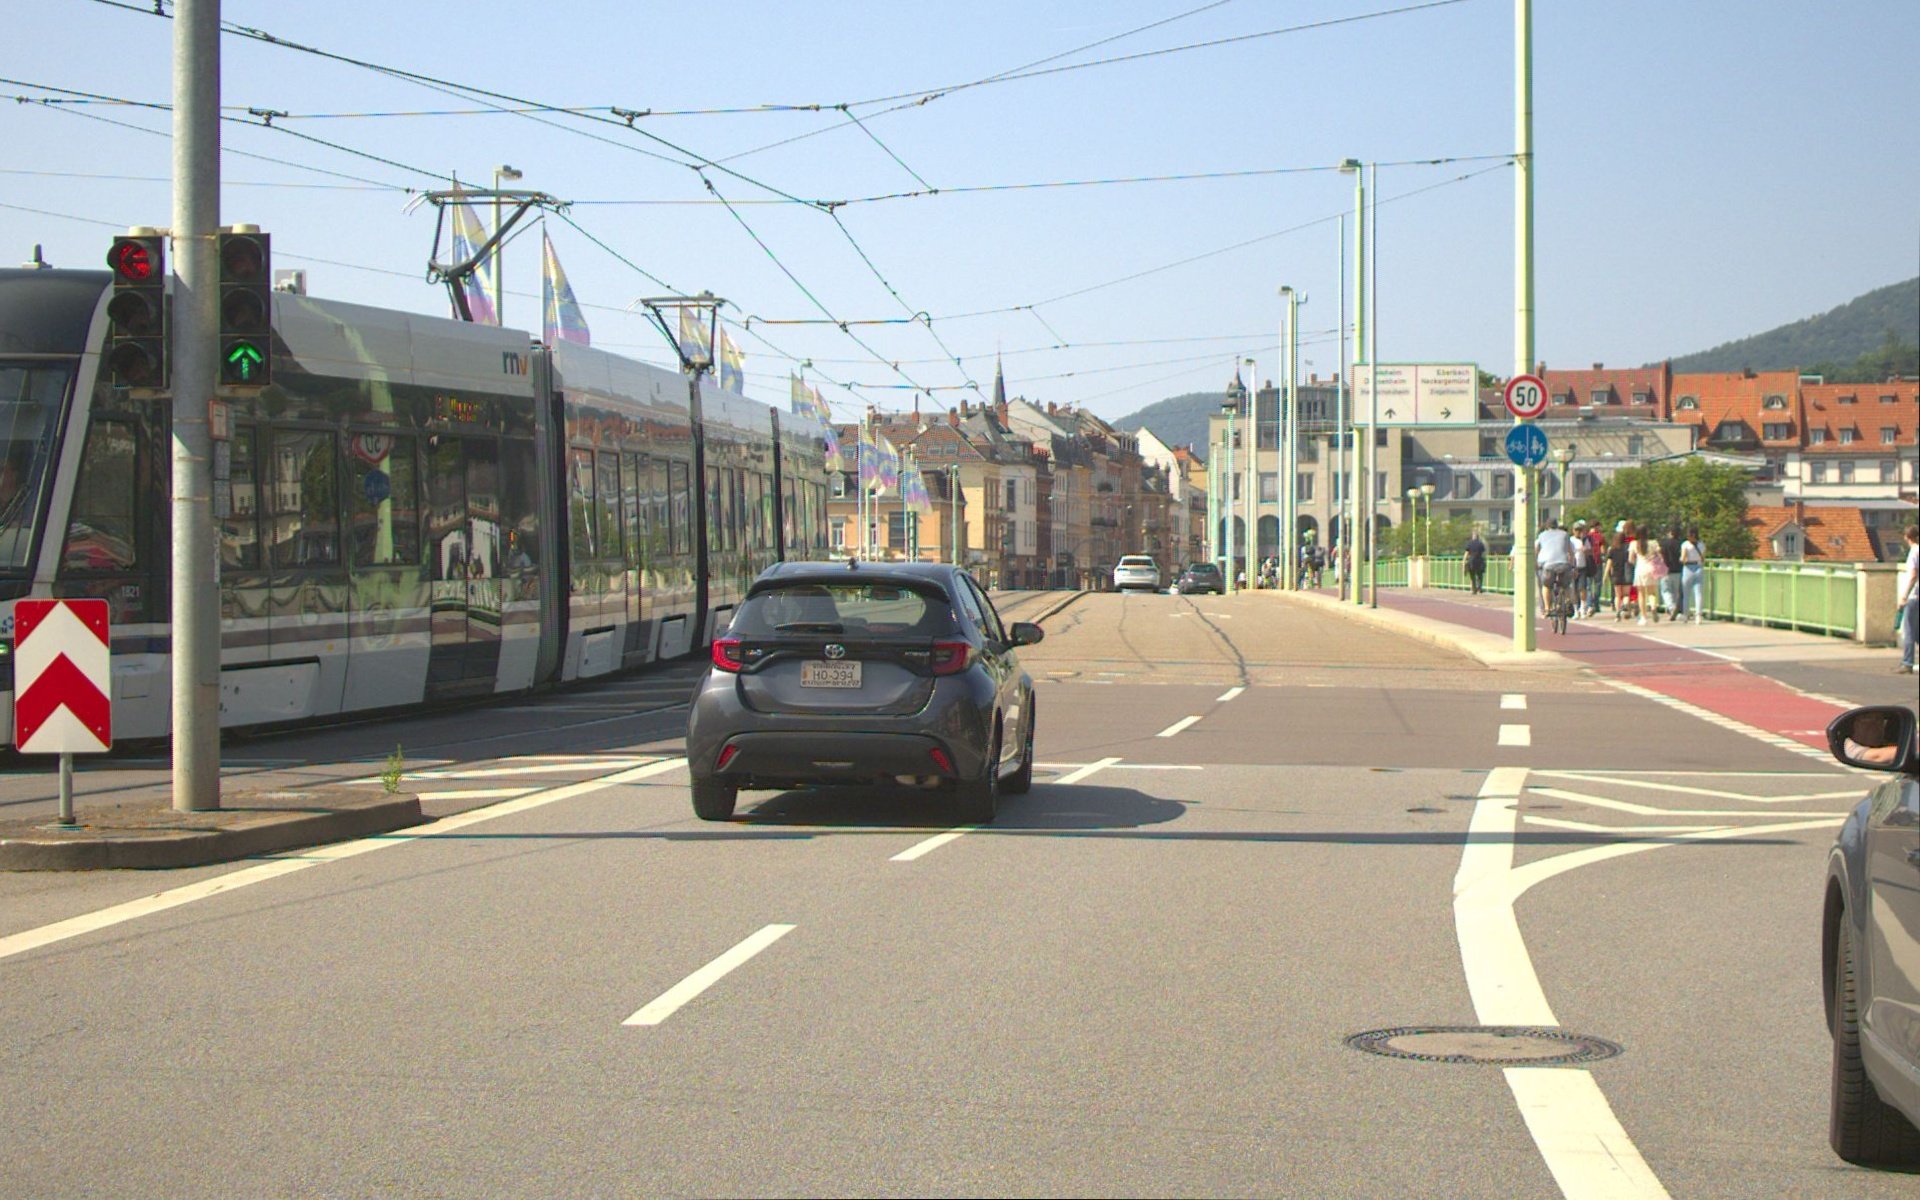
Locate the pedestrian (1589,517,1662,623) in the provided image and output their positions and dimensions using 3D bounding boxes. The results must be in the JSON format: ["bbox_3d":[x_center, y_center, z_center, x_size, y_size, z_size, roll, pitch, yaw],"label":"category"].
[{"bbox_3d":[11.102,-0.491,57.363,0.984,1.744,0.930,0,0,-3],"label":"pedestrian"}]

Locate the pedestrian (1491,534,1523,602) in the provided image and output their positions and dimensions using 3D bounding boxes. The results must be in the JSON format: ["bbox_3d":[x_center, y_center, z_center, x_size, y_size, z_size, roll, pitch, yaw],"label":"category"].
[{"bbox_3d":[12.628,-0.743,79.406,0.649,1.557,0.692,-1,1,3],"label":"pedestrian"}]

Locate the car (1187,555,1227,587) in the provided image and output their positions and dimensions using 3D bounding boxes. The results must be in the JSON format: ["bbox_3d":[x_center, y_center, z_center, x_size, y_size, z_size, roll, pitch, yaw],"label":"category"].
[{"bbox_3d":[11.727,-1.379,163.127,1.804,1.464,3.999,-1,0,5],"label":"car"}]

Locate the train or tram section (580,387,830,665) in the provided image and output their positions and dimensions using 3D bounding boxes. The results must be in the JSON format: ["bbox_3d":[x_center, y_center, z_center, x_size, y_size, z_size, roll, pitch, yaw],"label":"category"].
[{"bbox_3d":[-3.694,-1.131,52.676,2.470,3.764,11.850,0,1,2],"label":"train or tram section"}]

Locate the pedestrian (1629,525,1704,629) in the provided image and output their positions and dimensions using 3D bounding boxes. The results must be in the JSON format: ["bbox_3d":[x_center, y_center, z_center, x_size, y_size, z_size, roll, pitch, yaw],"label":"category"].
[{"bbox_3d":[12.178,-0.402,59.290,0.984,1.763,1.254,-1,1,-3],"label":"pedestrian"}]

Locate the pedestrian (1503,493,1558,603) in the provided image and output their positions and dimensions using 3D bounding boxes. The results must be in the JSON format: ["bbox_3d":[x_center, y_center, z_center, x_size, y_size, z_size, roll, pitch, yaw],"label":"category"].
[{"bbox_3d":[10.536,-0.949,63.543,0.803,2.007,0.954,0,0,-3],"label":"pedestrian"}]

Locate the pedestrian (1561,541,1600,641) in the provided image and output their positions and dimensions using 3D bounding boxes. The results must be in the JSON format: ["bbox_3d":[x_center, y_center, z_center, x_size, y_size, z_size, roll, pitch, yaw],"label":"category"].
[{"bbox_3d":[11.183,-0.163,61.933,0.549,1.793,0.646,0,0,-3],"label":"pedestrian"}]

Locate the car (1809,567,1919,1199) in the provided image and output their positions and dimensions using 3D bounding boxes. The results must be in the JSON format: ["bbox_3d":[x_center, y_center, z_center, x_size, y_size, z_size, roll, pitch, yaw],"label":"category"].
[{"bbox_3d":[2.971,0.705,7.109,1.930,1.510,3.992,1,1,8],"label":"car"}]

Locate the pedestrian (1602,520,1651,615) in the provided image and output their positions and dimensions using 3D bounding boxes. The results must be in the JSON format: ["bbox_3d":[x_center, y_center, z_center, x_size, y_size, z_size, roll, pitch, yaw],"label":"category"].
[{"bbox_3d":[12.036,-0.586,62.112,0.695,1.711,0.732,0,0,-3],"label":"pedestrian"}]

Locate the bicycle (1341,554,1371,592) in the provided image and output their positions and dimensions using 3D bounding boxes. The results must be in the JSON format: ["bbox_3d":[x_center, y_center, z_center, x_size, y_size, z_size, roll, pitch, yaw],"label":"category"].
[{"bbox_3d":[12.794,-0.863,111.034,0.695,1.189,2.079,0,0,-1],"label":"bicycle"}]

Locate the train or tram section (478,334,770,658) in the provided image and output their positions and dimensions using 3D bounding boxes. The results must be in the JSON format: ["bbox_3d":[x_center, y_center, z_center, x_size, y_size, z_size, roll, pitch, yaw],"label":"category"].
[{"bbox_3d":[-4.084,-1.284,43.843,2.404,3.668,9.619,0,1,2],"label":"train or tram section"}]

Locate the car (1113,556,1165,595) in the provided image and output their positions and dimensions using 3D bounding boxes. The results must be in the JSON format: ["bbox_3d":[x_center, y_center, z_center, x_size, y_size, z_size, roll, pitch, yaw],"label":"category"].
[{"bbox_3d":[7.083,-0.975,136.305,1.804,1.464,4.000,-1,0,0],"label":"car"}]

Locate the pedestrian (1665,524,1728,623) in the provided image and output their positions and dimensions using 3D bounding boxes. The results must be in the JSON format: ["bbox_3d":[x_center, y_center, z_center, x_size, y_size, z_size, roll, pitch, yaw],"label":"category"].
[{"bbox_3d":[12.242,-0.448,57.145,0.799,1.629,0.950,0,0,-3],"label":"pedestrian"}]

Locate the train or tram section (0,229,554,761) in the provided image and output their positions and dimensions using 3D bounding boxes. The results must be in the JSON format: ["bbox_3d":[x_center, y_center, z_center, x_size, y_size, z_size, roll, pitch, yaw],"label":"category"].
[{"bbox_3d":[-6.168,-0.826,29.084,2.538,3.764,9.164,0,1,13],"label":"train or tram section"}]

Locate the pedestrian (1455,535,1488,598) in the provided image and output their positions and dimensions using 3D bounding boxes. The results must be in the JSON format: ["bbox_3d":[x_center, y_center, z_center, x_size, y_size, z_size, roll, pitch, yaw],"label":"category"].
[{"bbox_3d":[14.151,-0.933,95.122,0.654,1.738,0.978,0,2,-4],"label":"pedestrian"}]

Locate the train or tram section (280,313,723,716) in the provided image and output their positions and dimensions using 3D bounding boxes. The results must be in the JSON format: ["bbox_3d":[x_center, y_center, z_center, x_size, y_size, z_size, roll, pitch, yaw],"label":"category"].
[{"bbox_3d":[-4.624,-0.896,36.795,2.538,3.764,9.167,0,1,6],"label":"train or tram section"}]

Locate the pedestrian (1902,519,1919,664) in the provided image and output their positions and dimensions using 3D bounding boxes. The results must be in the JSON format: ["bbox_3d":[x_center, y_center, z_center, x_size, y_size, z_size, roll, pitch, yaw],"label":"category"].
[{"bbox_3d":[11.834,-0.104,41.962,0.534,1.754,0.577,1,1,6],"label":"pedestrian"}]

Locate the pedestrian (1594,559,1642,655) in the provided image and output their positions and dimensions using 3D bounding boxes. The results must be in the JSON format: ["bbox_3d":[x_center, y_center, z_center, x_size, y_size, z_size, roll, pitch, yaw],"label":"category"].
[{"bbox_3d":[11.431,0.121,59.748,0.654,1.644,0.868,0,0,-1],"label":"pedestrian"}]

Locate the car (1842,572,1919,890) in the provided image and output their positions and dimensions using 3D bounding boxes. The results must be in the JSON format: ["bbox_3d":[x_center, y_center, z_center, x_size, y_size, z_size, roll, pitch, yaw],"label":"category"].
[{"bbox_3d":[5.579,0.661,16.314,1.994,1.485,4.284,2,1,5],"label":"car"}]

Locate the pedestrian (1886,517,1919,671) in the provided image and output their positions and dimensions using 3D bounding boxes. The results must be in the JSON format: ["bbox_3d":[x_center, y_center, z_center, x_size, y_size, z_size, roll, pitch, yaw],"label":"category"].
[{"bbox_3d":[11.651,-0.073,41.535,0.774,1.849,0.644,1,1,6],"label":"pedestrian"}]

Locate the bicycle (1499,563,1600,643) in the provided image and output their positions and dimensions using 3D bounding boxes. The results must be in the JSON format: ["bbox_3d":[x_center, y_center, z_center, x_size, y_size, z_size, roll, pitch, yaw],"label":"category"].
[{"bbox_3d":[9.019,0.027,52.767,0.792,1.092,3.745,-1,2,-2],"label":"bicycle"}]

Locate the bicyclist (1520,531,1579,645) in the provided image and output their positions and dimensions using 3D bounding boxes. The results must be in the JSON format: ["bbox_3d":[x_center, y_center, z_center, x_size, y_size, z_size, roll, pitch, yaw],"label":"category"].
[{"bbox_3d":[9.035,-0.187,52.740,0.673,1.738,1.150,0,0,-2],"label":"bicyclist"}]

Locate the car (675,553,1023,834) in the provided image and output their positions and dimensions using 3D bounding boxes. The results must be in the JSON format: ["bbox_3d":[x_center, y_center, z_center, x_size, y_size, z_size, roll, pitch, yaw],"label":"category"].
[{"bbox_3d":[-0.573,0.485,20.869,1.910,1.535,4.000,0,1,1],"label":"car"}]
